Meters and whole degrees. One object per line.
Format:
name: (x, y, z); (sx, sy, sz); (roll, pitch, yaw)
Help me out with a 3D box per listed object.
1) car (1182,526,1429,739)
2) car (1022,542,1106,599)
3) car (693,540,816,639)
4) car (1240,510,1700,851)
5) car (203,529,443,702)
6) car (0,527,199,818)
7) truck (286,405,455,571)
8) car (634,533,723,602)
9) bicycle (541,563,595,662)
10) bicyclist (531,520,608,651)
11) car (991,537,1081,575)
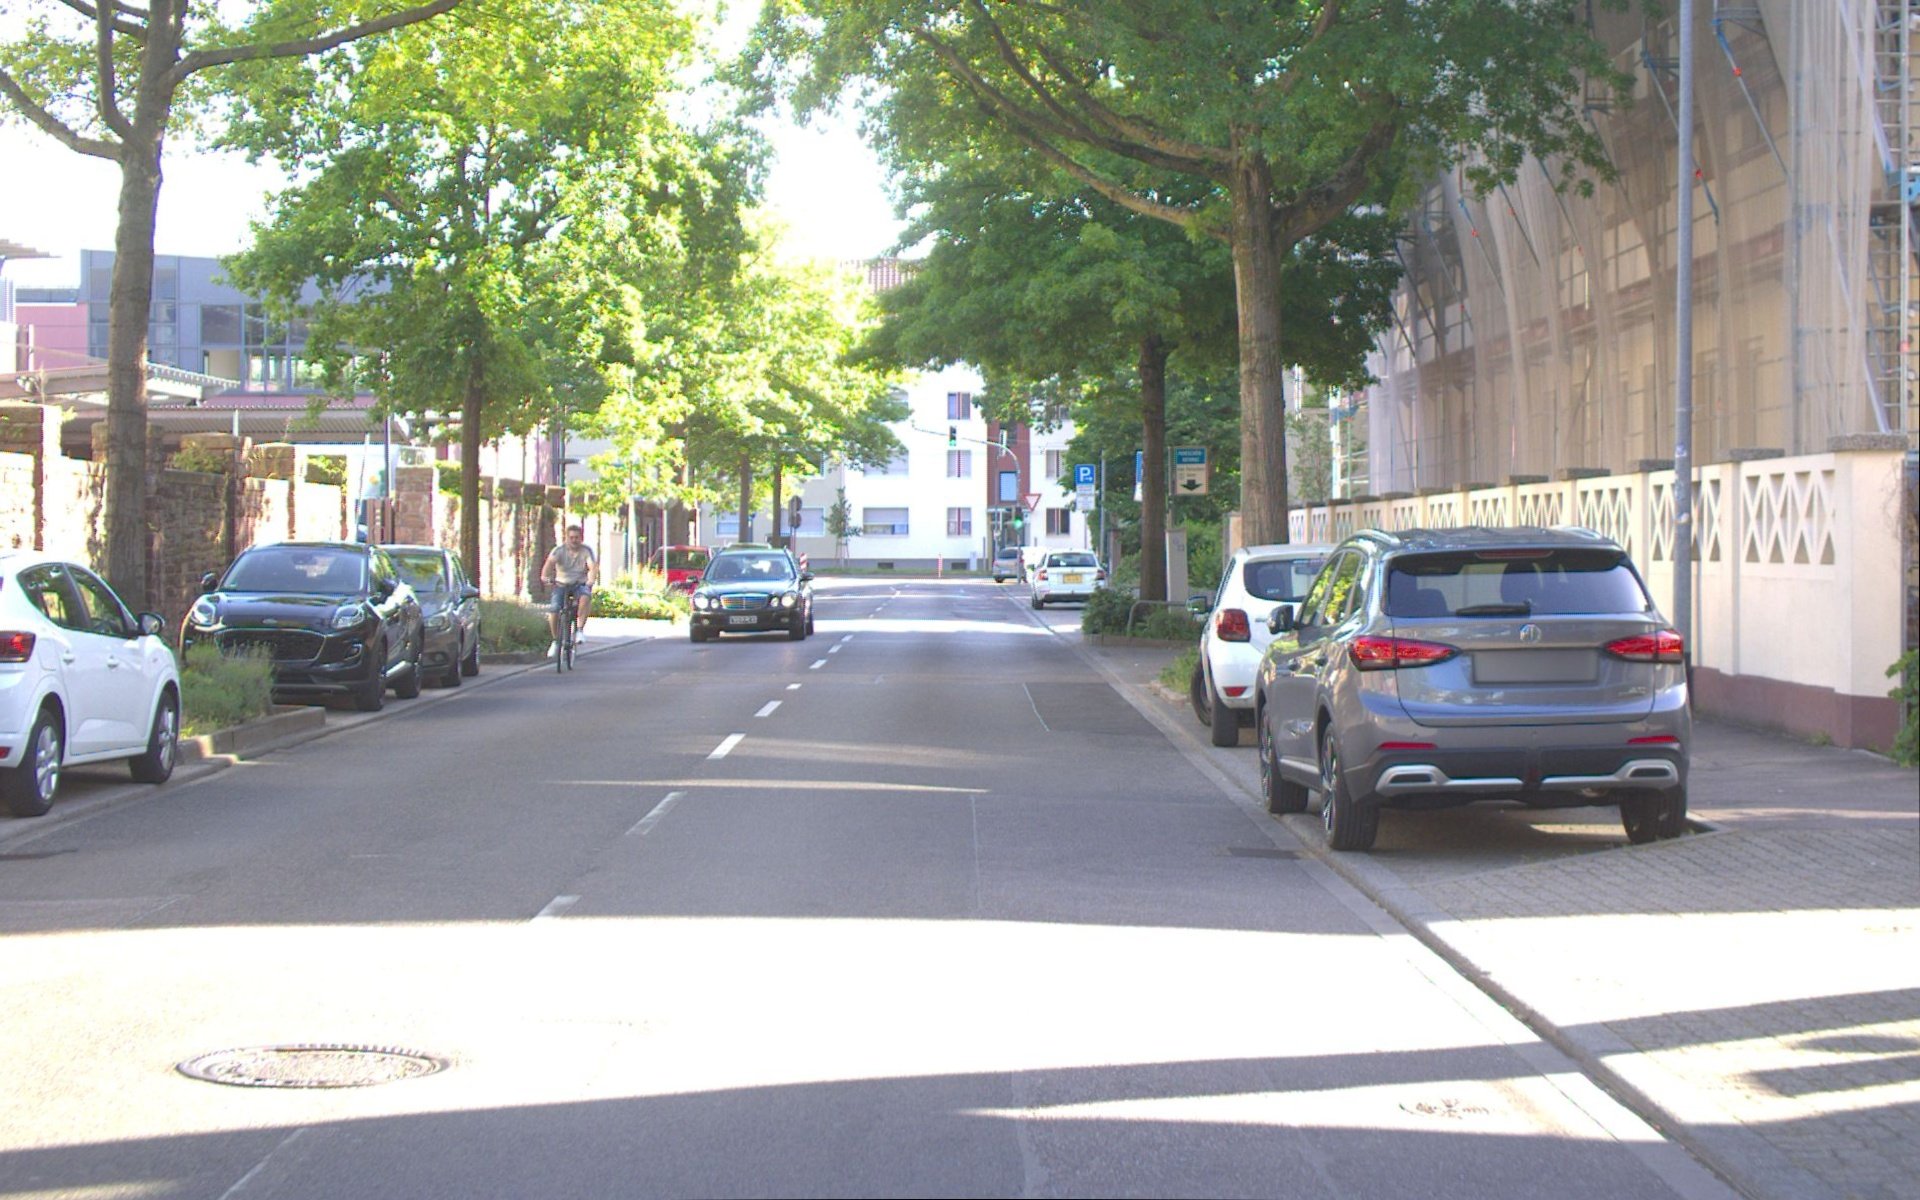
car: (2.674, 0.198, 27.331); (1.724, 1.505, 3.992); (-1, 2, 3)
car: (2.496, -0.738, 83.700); (1.832, 1.318, 4.496); (-1, 1, -1)
car: (-3.258, -0.203, 55.206); (1.821, 1.431, 3.970); (2, 2, -2)
car: (2.620, 0.333, 18.640); (1.712, 1.632, 4.303); (0, 1, -2)
car: (-5.923, 0.094, 32.345); (1.573, 1.510, 4.045); (0, 1, -1)
car: (-5.864, 0.344, 20.571); (1.676, 1.506, 3.850); (3, 1, 0)
truck: (-13.969, -2.621, 82.004); (2.732, 3.698, 7.429); (2, 1, 0)
car: (-6.215, -0.742, 76.191); (1.609, 1.454, 3.708); (2, 1, 0)
bicycle: (-4.649, 0.136, 40.835); (0.357, 1.116, 1.866); (2, 1, 1)
bicyclist: (-4.631, -0.174, 40.823); (0.721, 1.517, 1.005); (2, 1, 3)
car: (3.124, -1.796, 141.144); (3.409, 1.438, 1.645); (1, 1, -10)
